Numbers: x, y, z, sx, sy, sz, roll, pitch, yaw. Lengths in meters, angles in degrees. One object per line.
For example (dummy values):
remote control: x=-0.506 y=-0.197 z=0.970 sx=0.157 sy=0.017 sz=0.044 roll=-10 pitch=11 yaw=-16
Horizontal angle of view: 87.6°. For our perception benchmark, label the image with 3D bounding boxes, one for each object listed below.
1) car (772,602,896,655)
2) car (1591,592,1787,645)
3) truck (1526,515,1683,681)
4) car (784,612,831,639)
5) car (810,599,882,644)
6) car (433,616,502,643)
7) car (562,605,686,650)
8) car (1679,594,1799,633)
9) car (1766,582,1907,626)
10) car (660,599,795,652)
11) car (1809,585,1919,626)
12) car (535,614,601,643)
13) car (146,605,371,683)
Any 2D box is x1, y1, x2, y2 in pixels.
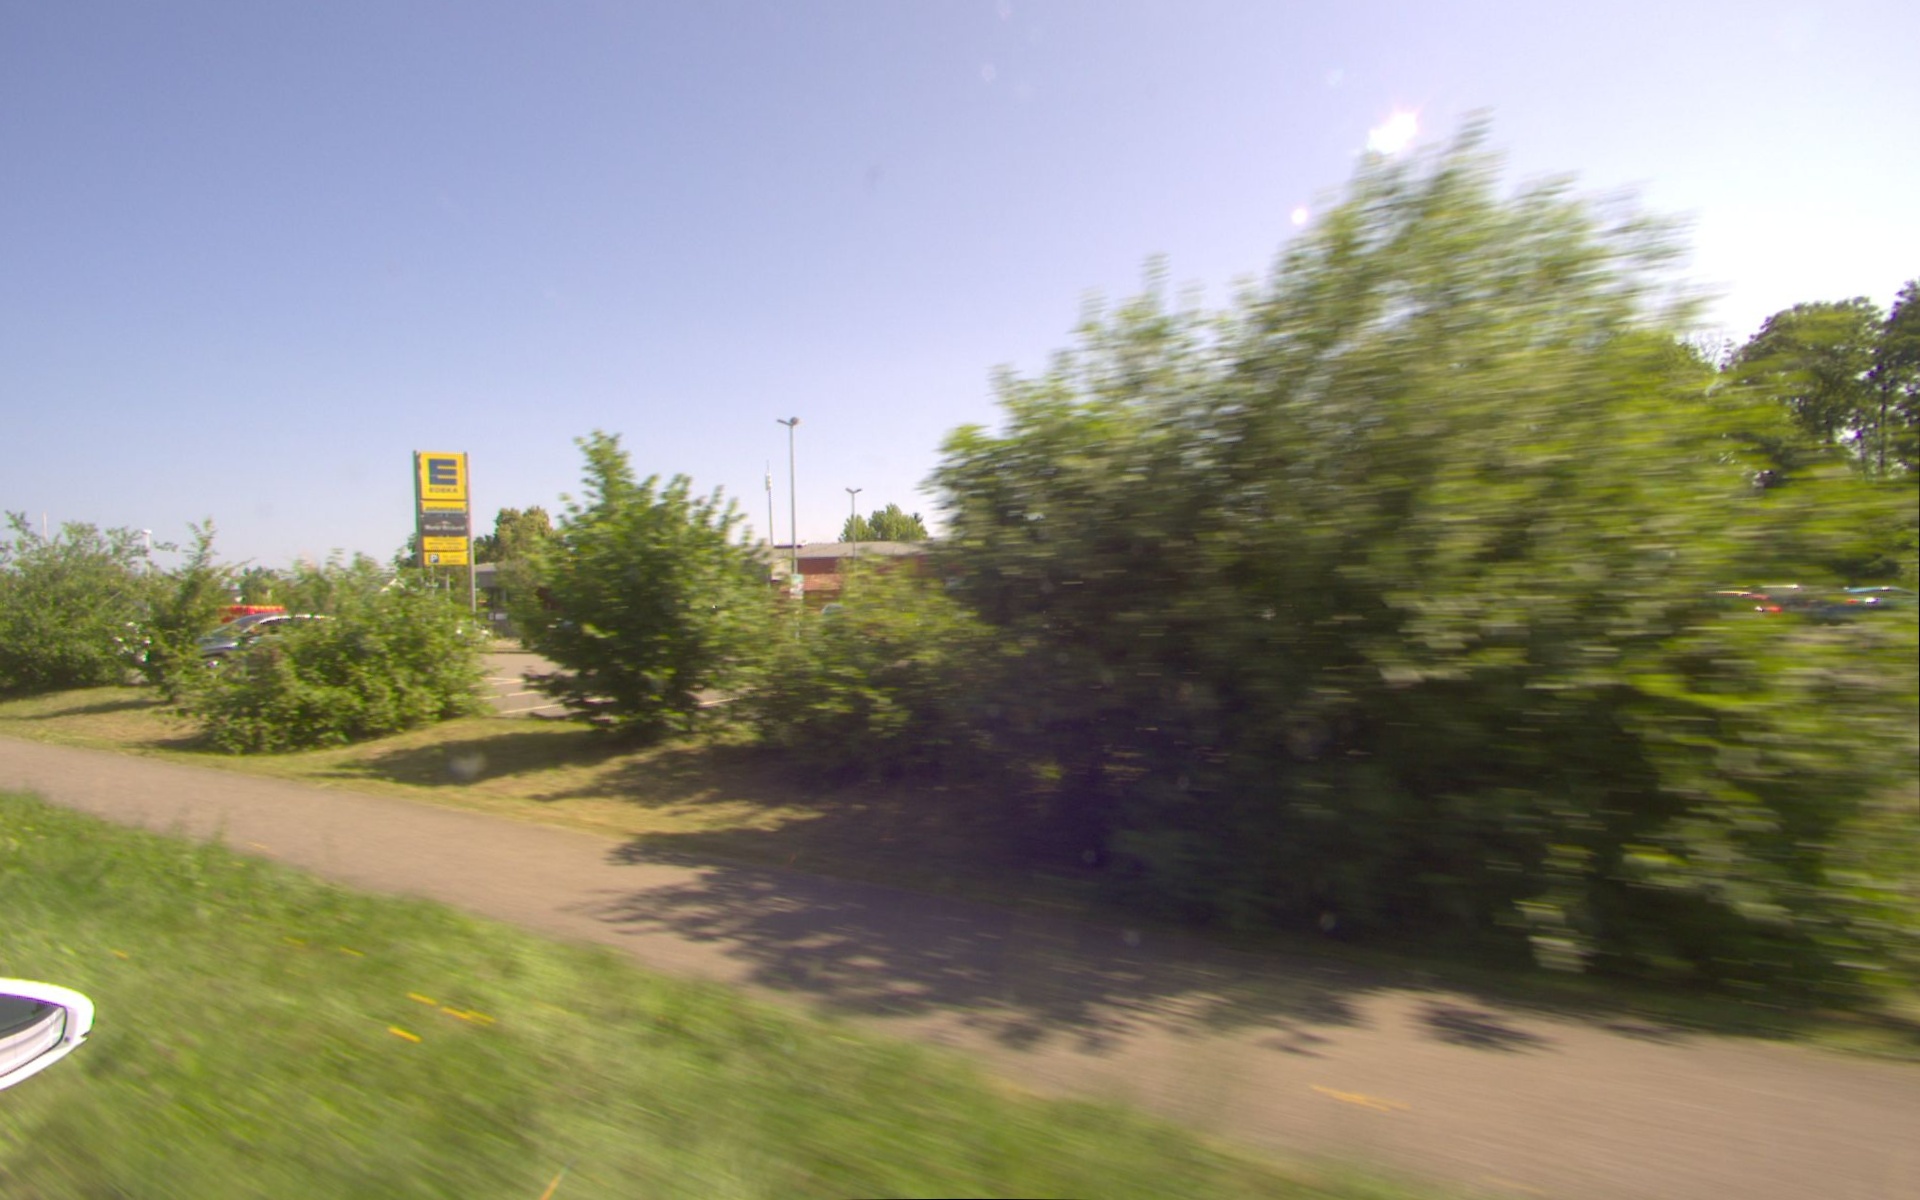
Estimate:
car: x=-3.586 y=0.785 z=29.261 sx=1.721 sy=1.446 sz=3.986 roll=0 pitch=0 yaw=25
car: x=21.862 y=0.537 z=30.174 sx=4.407 sy=1.485 sz=2.000 roll=-1 pitch=0 yaw=2
truck: x=12.085 y=-0.041 z=18.884 sx=2.172 sy=2.640 sz=5.586 roll=0 pitch=0 yaw=33
car: x=-8.326 y=1.360 z=55.015 sx=1.682 sy=1.416 sz=4.000 roll=0 pitch=-1 yaw=5
car: x=-4.555 y=0.934 z=40.717 sx=1.961 sy=1.723 sz=4.562 roll=0 pitch=-2 yaw=6
car: x=-27.682 y=1.627 z=56.355 sx=1.684 sy=1.477 sz=3.490 roll=0 pitch=0 yaw=13
car: x=-11.826 y=0.936 z=35.429 sx=1.628 sy=1.461 sz=3.975 roll=0 pitch=0 yaw=35
car: x=36.178 y=0.619 z=46.603 sx=3.923 sy=1.734 sz=2.071 roll=-1 pitch=0 yaw=7
car: x=36.261 y=0.152 z=41.521 sx=3.923 sy=1.734 sz=2.071 roll=-1 pitch=0 yaw=7
car: x=-7.418 y=0.778 z=32.349 sx=1.970 sy=1.594 sz=4.148 roll=0 pitch=-1 yaw=30
car: x=35.761 y=0.206 z=38.680 sx=4.288 sy=1.506 sz=1.662 roll=-1 pitch=0 yaw=7
car: x=-21.504 y=1.560 z=55.045 sx=1.684 sy=1.517 sz=3.490 roll=0 pitch=0 yaw=13
car: x=-16.893 y=0.994 z=24.305 sx=1.728 sy=1.649 sz=4.108 roll=0 pitch=1 yaw=33
